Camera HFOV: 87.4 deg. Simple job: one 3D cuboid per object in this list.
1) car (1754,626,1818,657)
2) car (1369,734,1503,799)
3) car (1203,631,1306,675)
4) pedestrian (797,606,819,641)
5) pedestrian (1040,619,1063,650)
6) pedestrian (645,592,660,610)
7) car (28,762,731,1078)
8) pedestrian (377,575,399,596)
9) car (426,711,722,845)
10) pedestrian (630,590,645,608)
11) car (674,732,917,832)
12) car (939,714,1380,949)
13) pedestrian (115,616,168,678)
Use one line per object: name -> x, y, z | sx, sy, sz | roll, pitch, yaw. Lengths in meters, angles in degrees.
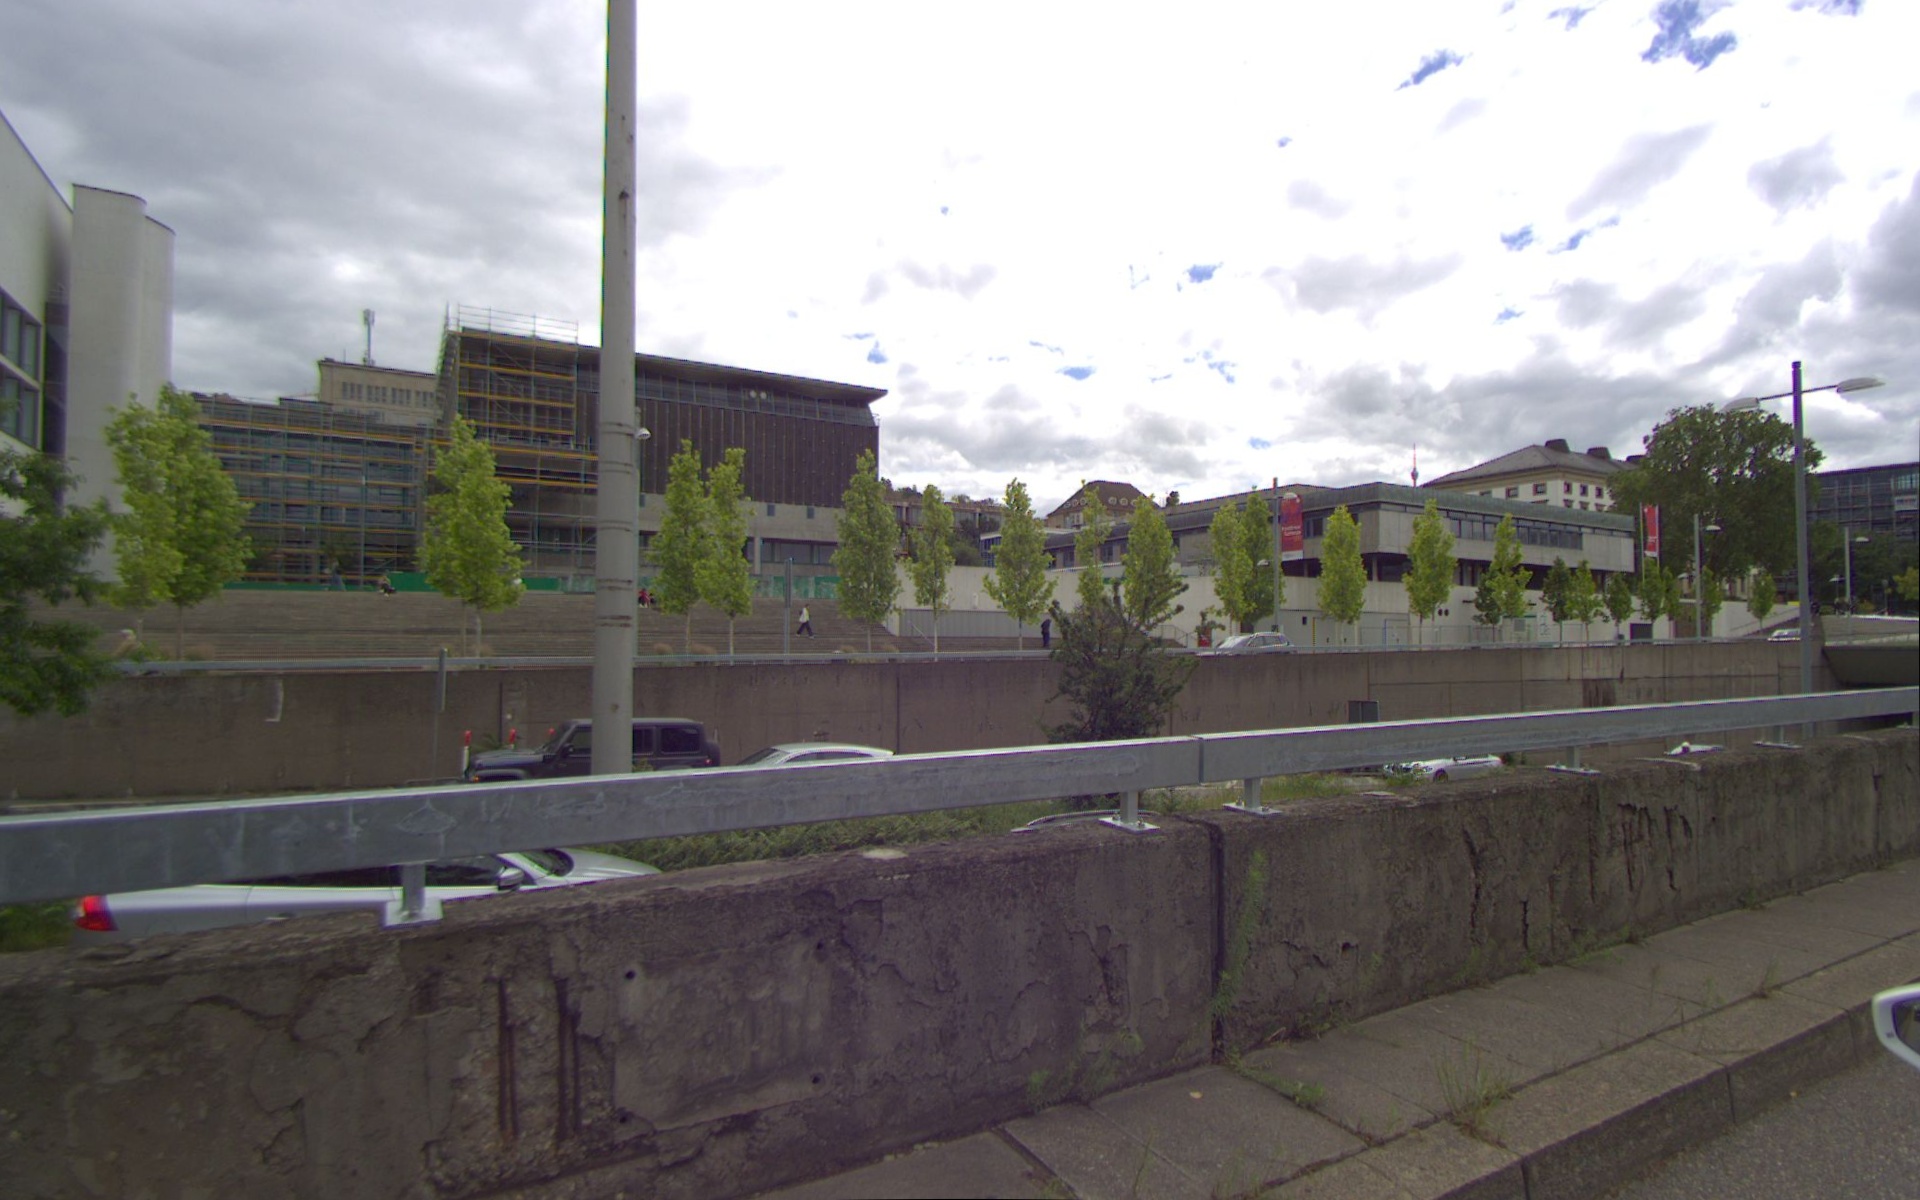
car -> 55.544, 2.789, 67.548 | 3.953, 2.039, 1.985 | 1, -4, -30
car -> 14.783, 5.110, 31.166 | 4.166, 1.505, 1.740 | 1, -1, -30
car -> 10.699, 1.905, 36.495 | 3.481, 1.505, 1.694 | 1, -1, -30
pedestrian -> -7.532, 1.155, 49.736 | 0.849, 1.662, 0.638 | 2, 3, -30
pedestrian -> 5.113, 1.931, 55.937 | 0.991, 1.662, 0.638 | 2, 3, -30
pedestrian -> -15.759, 0.054, 51.501 | 0.649, 0.883, 0.533 | 2, 0, -25
car -> -4.574, 2.437, 8.675 | 4.682, 1.638, 1.984 | 2, -3, -30
pedestrian -> -26.221, -0.678, 46.090 | 0.849, 0.895, 0.638 | 2, 3, -30
car -> -7.065, 3.160, 18.548 | 4.846, 1.922, 1.809 | 2, -1, -30
pedestrian -> -16.420, -0.049, 51.187 | 0.649, 0.883, 0.533 | 2, 0, -25
car -> -2.831, 3.074, 17.428 | 3.776, 1.289, 1.689 | 3, -1, -30
car -> 2.231, 2.271, 10.877 | 4.602, 1.738, 1.885 | 1, -1, -30
pedestrian -> -22.626, 1.293, 27.773 | 0.993, 1.662, 0.731 | 1, -2, -30
